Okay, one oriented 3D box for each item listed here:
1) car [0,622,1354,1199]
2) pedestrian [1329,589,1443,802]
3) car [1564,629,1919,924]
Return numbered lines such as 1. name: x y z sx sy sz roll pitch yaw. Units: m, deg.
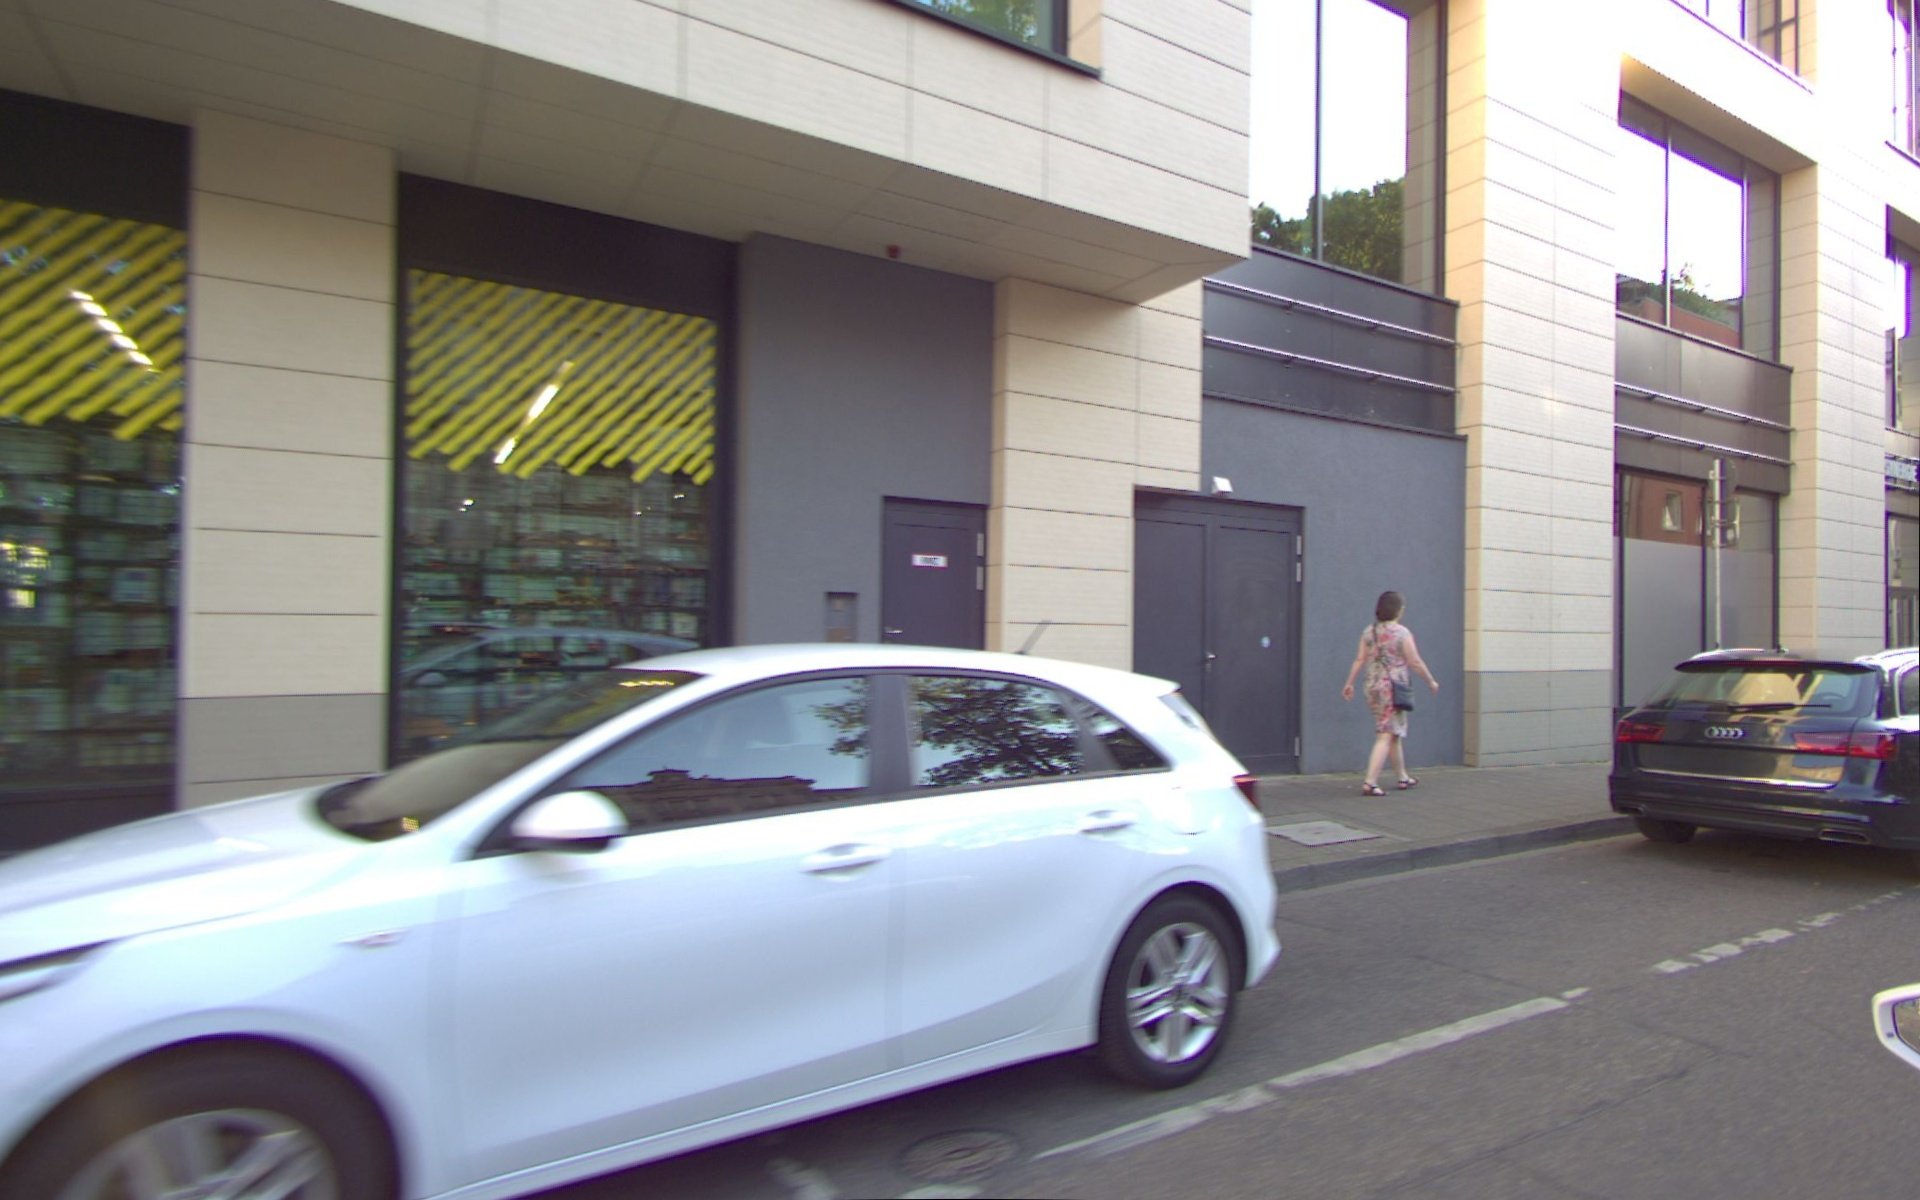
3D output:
1. car: -0.799 0.837 3.289 4.184 1.472 1.768 2 -1 -32
2. pedestrian: 3.718 0.806 8.789 0.640 1.767 0.669 1 -1 -30
3. car: 6.788 1.056 7.591 4.635 1.619 1.874 1 -1 -31
